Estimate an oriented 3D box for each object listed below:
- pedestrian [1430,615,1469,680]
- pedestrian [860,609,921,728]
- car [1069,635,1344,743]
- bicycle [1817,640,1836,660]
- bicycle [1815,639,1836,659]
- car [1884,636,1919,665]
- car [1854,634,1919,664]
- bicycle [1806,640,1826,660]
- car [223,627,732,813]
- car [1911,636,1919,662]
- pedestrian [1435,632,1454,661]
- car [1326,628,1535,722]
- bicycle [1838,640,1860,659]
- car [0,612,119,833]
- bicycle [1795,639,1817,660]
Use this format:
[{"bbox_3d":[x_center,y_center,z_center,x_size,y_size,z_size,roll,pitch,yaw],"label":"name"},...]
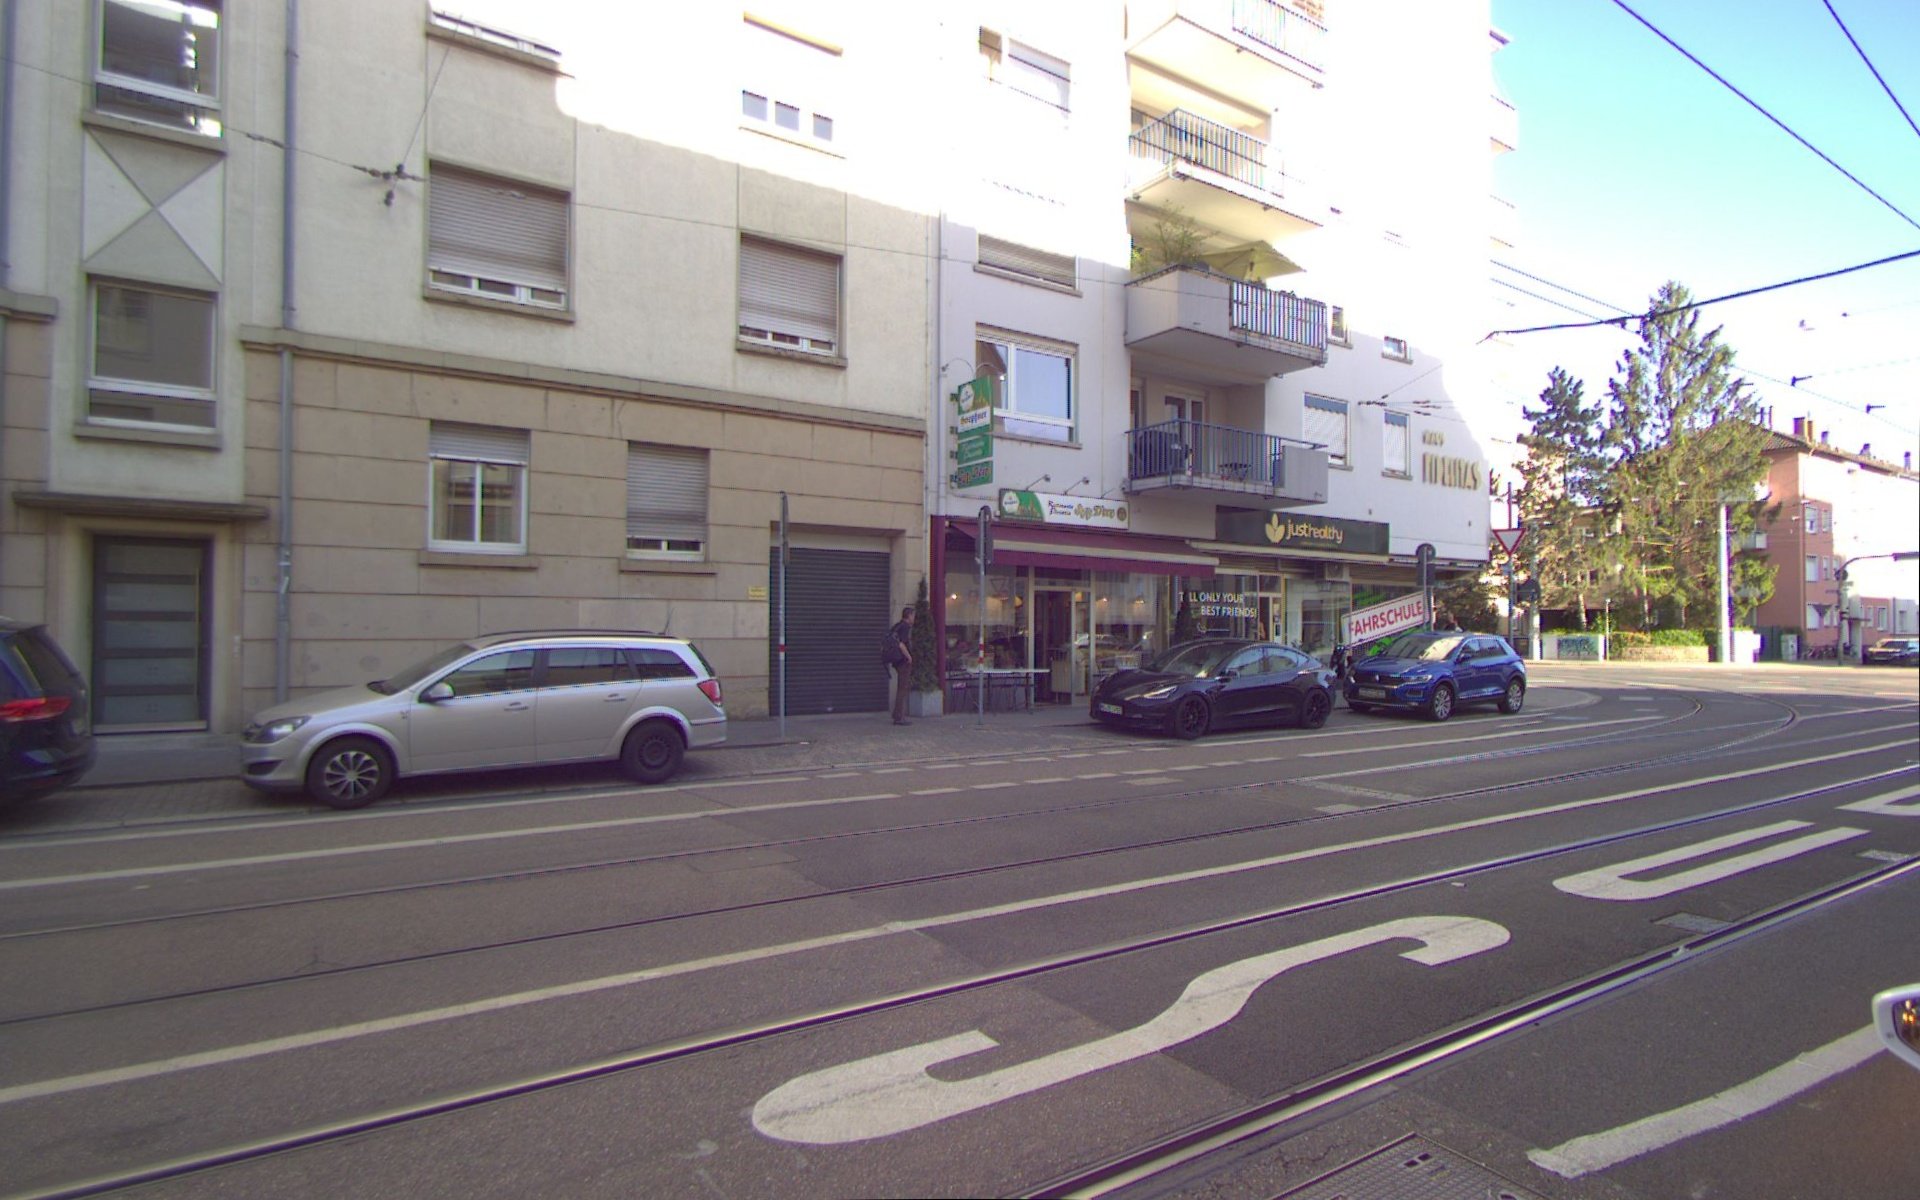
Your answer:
[{"bbox_3d":[14.060,1.355,28.874,0.707,1.859,0.771,0,-1,-3],"label":"pedestrian"},{"bbox_3d":[-1.038,1.003,14.997,0.722,1.731,0.600,1,-2,-32],"label":"pedestrian"},{"bbox_3d":[4.006,1.315,16.038,4.442,1.422,1.714,1,1,-34],"label":"car"},{"bbox_3d":[47.600,2.748,55.161,1.895,1.097,0.532,2,-2,-41],"label":"bicycle"},{"bbox_3d":[50.736,2.862,58.877,1.892,1.097,0.533,1,-2,-37],"label":"bicycle"},{"bbox_3d":[54.268,2.842,57.009,4.006,1.539,1.938,1,-2,-36],"label":"car"},{"bbox_3d":[49.720,2.618,53.779,3.961,1.539,1.938,1,-2,-36],"label":"car"},{"bbox_3d":[47.173,2.736,55.336,1.895,1.097,0.532,2,-2,-41],"label":"bicycle"},{"bbox_3d":[-4.713,1.049,10.210,4.343,1.497,1.785,1,-1,-34],"label":"car"},{"bbox_3d":[58.122,2.899,59.448,3.961,1.539,1.938,1,-2,-36],"label":"car"},{"bbox_3d":[29.576,2.829,61.288,0.672,1.725,0.805,1,-2,-30],"label":"pedestrian"},{"bbox_3d":[8.985,1.345,19.081,4.072,1.525,1.714,1,1,-34],"label":"car"},{"bbox_3d":[53.152,2.939,60.021,1.892,1.097,0.605,1,-2,-37],"label":"bicycle"},{"bbox_3d":[-9.001,0.879,7.188,4.343,1.620,1.785,1,-1,-34],"label":"car"},{"bbox_3d":[46.877,2.726,55.628,1.895,1.097,0.634,2,-2,-41],"label":"bicycle"}]
